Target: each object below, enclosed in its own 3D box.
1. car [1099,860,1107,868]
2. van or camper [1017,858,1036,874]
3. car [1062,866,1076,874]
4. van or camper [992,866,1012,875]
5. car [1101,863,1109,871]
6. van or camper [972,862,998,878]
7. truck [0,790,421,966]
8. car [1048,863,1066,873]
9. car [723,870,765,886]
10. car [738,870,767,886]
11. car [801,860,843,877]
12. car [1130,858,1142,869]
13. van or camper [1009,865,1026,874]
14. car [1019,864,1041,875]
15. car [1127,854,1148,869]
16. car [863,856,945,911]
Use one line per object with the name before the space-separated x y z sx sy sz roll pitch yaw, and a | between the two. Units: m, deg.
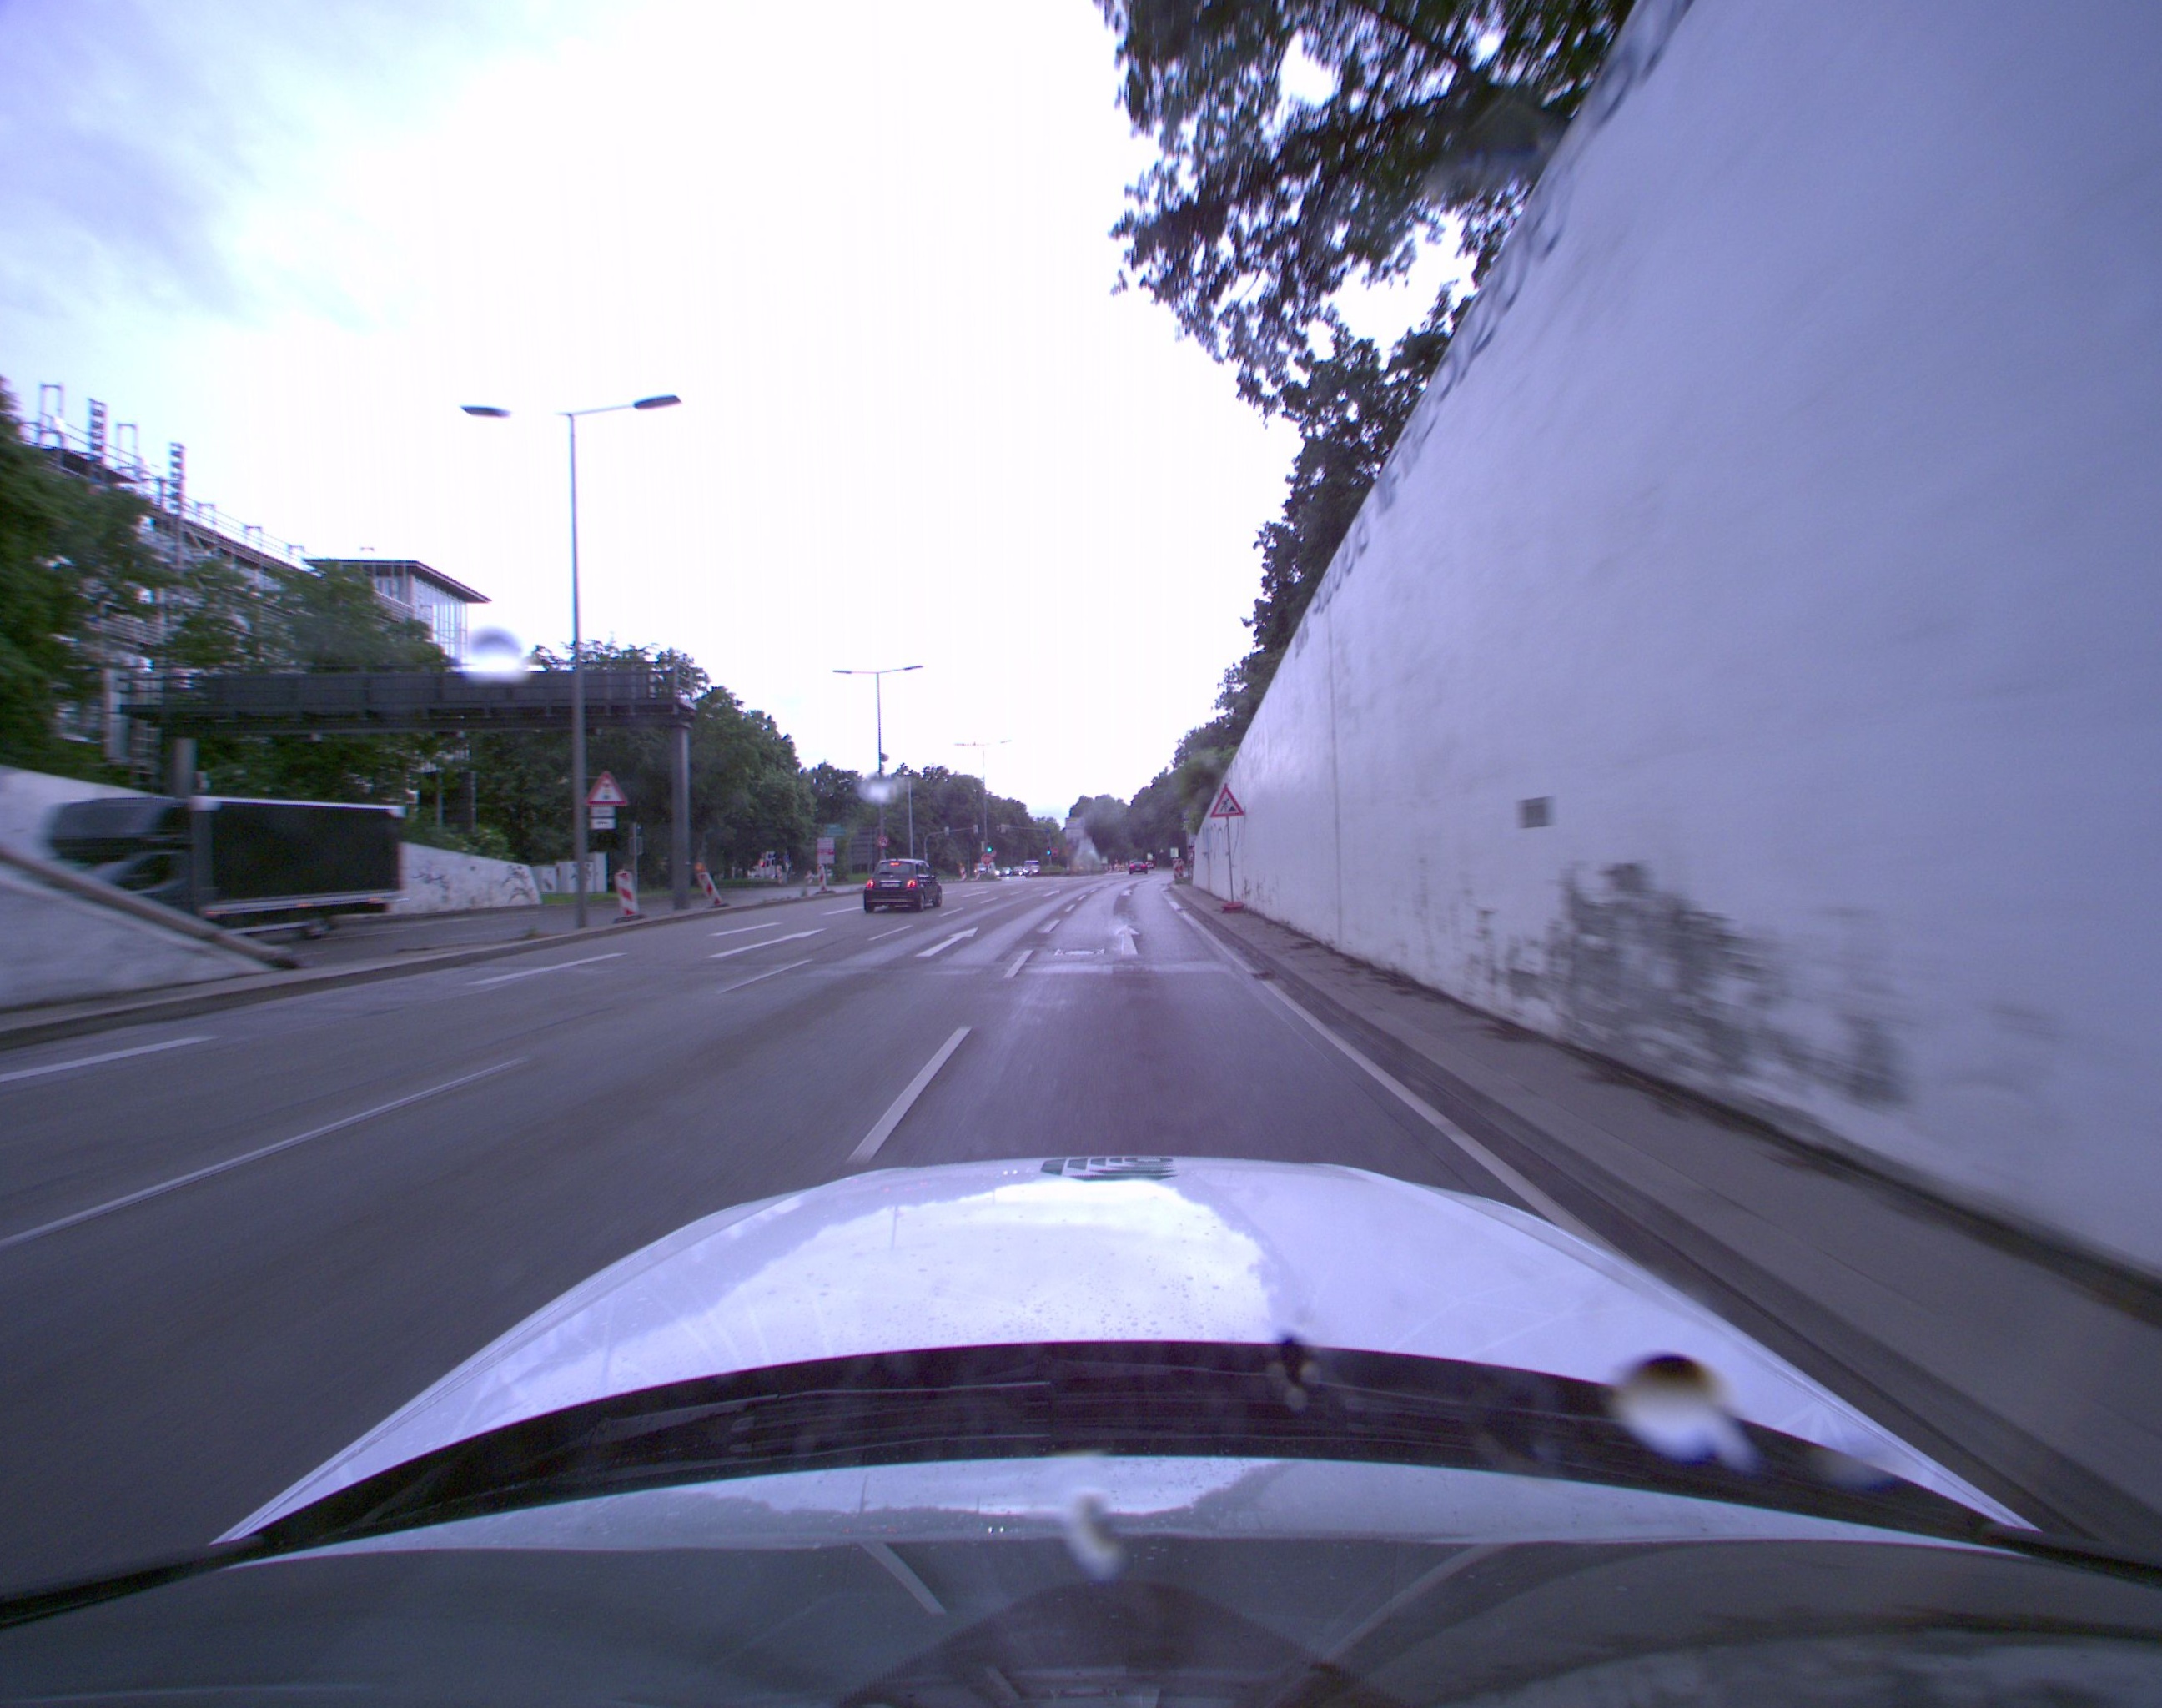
car | 5.612 2.623 207.438 1.987 2.014 3.999 -1 -1 0
van or camper | -8.375 1.860 125.887 2.117 2.349 4.436 -2 -1 7
car | -2.032 2.691 140.825 2.000 1.301 4.320 -2 -1 4
van or camper | -11.617 2.404 120.540 1.998 1.301 4.100 -2 -1 7
car | 6.446 3.477 222.403 1.987 2.014 3.999 -1 -1 0
van or camper | -12.610 2.056 107.673 2.117 2.014 5.325 -2 -1 7
truck | -19.794 0.433 19.017 2.788 3.276 7.148 -2 0 1
car | -3.463 2.037 118.198 1.998 1.301 4.324 -2 -1 7
car | -38.584 2.753 93.367 3.971 1.514 1.899 -2 1 2
car | -39.913 2.939 99.046 1.885 1.684 4.000 -2 1 0
car | -29.267 1.620 92.122 3.970 1.684 1.899 -2 1 3
car | 10.455 1.795 156.317 1.987 2.014 3.999 -1 -1 0
van or camper | -10.248 2.526 131.845 1.998 1.301 4.100 -2 -1 7
car | -6.723 2.065 107.345 1.998 1.301 4.324 -2 -1 7
car | 5.826 0.742 84.057 1.985 1.448 4.318 -2 -1 3
car | -5.098 0.806 23.848 1.607 1.454 3.572 0 1 0
